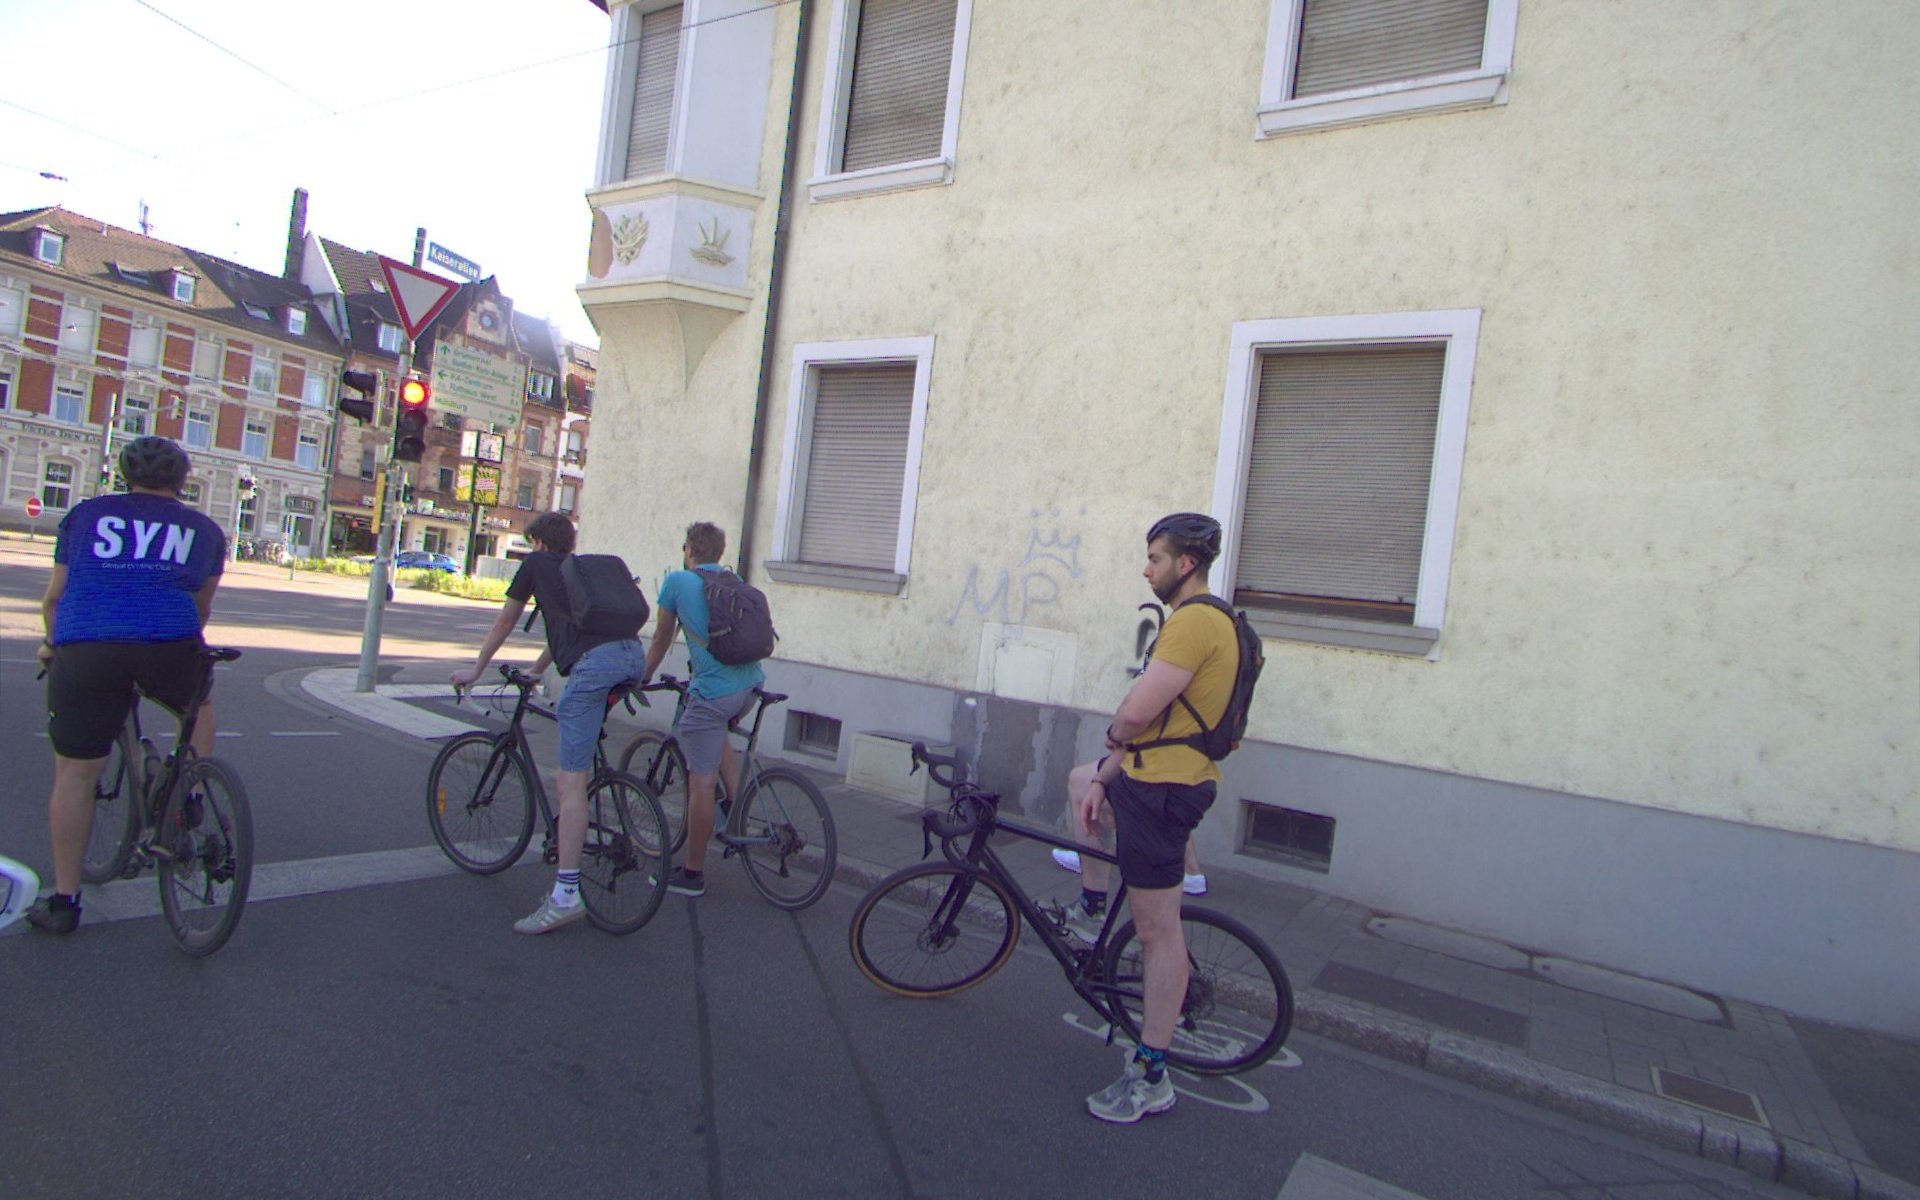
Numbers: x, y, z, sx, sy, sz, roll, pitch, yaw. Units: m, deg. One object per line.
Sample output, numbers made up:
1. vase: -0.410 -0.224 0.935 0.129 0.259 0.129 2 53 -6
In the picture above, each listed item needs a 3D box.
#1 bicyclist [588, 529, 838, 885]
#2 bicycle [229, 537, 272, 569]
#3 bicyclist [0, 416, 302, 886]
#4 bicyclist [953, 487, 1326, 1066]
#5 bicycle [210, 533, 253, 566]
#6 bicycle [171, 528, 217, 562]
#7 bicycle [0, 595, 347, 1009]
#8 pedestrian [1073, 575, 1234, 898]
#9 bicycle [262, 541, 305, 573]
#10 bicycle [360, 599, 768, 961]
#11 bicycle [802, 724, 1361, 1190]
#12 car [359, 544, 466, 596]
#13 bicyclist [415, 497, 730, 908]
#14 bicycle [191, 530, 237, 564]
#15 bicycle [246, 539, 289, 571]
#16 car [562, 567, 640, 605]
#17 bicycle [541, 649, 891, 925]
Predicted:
1. bicyclist: -1.291 0.524 5.291 0.869 1.652 0.690 6 -1 34
2. bicycle: -33.412 -2.219 47.368 2.618 1.301 0.629 6 -1 33
3. bicyclist: -3.079 0.150 3.730 0.869 1.512 0.639 9 0 36
4. bicyclist: 0.652 0.529 3.528 0.869 1.682 0.807 6 -1 32
5. bicycle: -33.824 -2.345 46.696 2.618 1.301 0.629 6 -1 33
6. bicycle: -34.616 -2.495 45.424 2.618 1.301 0.693 6 -1 33
7. bicycle: -3.055 0.621 3.707 1.676 1.097 0.627 6 -1 35
8. pedestrian: 1.113 0.770 5.914 0.631 1.780 0.584 4 3 -7
9. bicycle: -32.676 -2.073 48.587 2.618 1.301 0.629 6 -1 33
10. bicycle: -1.846 0.732 4.645 1.674 1.251 0.756 6 -1 30
11. bicycle: 0.399 1.105 3.637 1.751 1.043 0.756 6 -2 33
12. car: -25.467 -1.382 46.910 1.967 1.798 3.790 6 -2 31
13. bicyclist: -1.755 0.428 4.616 0.868 1.625 0.807 7 -1 30
14. bicycle: -34.190 -2.416 46.072 2.618 1.301 0.693 6 -1 33
15. bicycle: -33.046 -2.145 47.997 2.618 1.301 0.629 6 -1 33
16. car: -23.240 -0.874 65.291 1.967 1.798 4.374 6 -2 31
17. bicycle: -1.308 0.894 5.258 1.742 1.043 0.650 6 -1 33
